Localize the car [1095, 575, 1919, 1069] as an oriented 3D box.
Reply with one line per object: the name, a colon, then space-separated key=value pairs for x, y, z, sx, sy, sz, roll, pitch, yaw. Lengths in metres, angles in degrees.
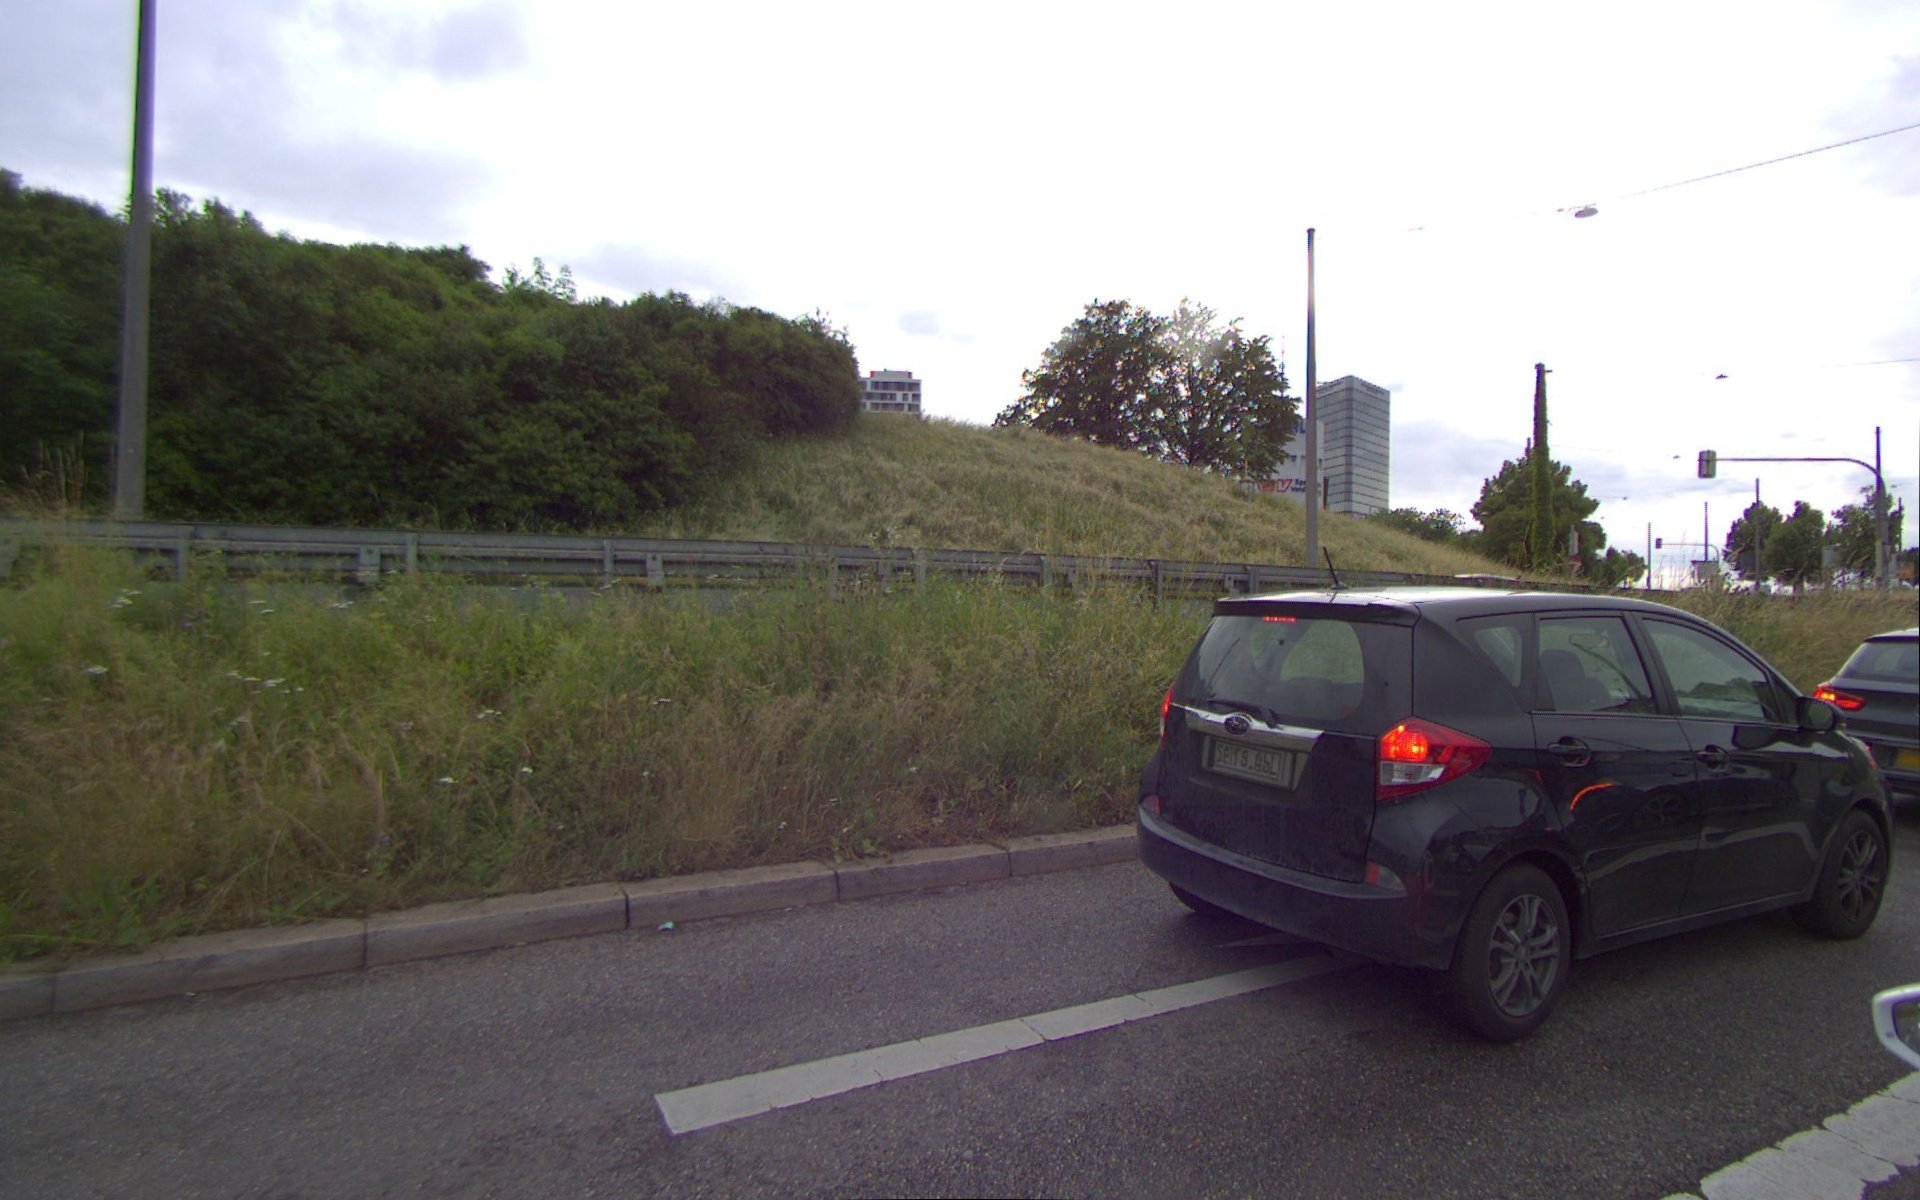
car: x=2.652 y=0.706 z=4.712 sx=3.731 sy=1.524 sz=1.635 roll=1 pitch=1 yaw=-28

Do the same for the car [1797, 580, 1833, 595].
car: x=96.030 y=-1.388 z=112.833 sx=1.962 sy=1.497 sz=4.417 roll=2 pitch=-1 yaw=25

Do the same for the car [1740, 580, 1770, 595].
car: x=107.977 y=-1.690 z=136.470 sx=2.096 sy=1.818 sz=4.734 roll=3 pitch=2 yaw=27

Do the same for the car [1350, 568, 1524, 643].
car: x=10.594 y=0.114 z=22.268 sx=3.634 sy=1.537 sz=1.727 roll=1 pitch=1 yaw=-30

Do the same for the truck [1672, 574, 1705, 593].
truck: x=127.413 y=-2.840 z=175.744 sx=3.206 sy=3.116 sz=6.171 roll=4 pitch=3 yaw=23

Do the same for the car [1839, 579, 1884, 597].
car: x=86.998 y=-1.146 z=97.031 sx=1.962 sy=1.497 sz=4.499 roll=2 pitch=-1 yaw=25

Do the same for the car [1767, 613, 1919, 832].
car: x=8.320 y=0.863 z=7.711 sx=4.058 sy=1.479 sz=1.698 roll=1 pitch=-1 yaw=-25
